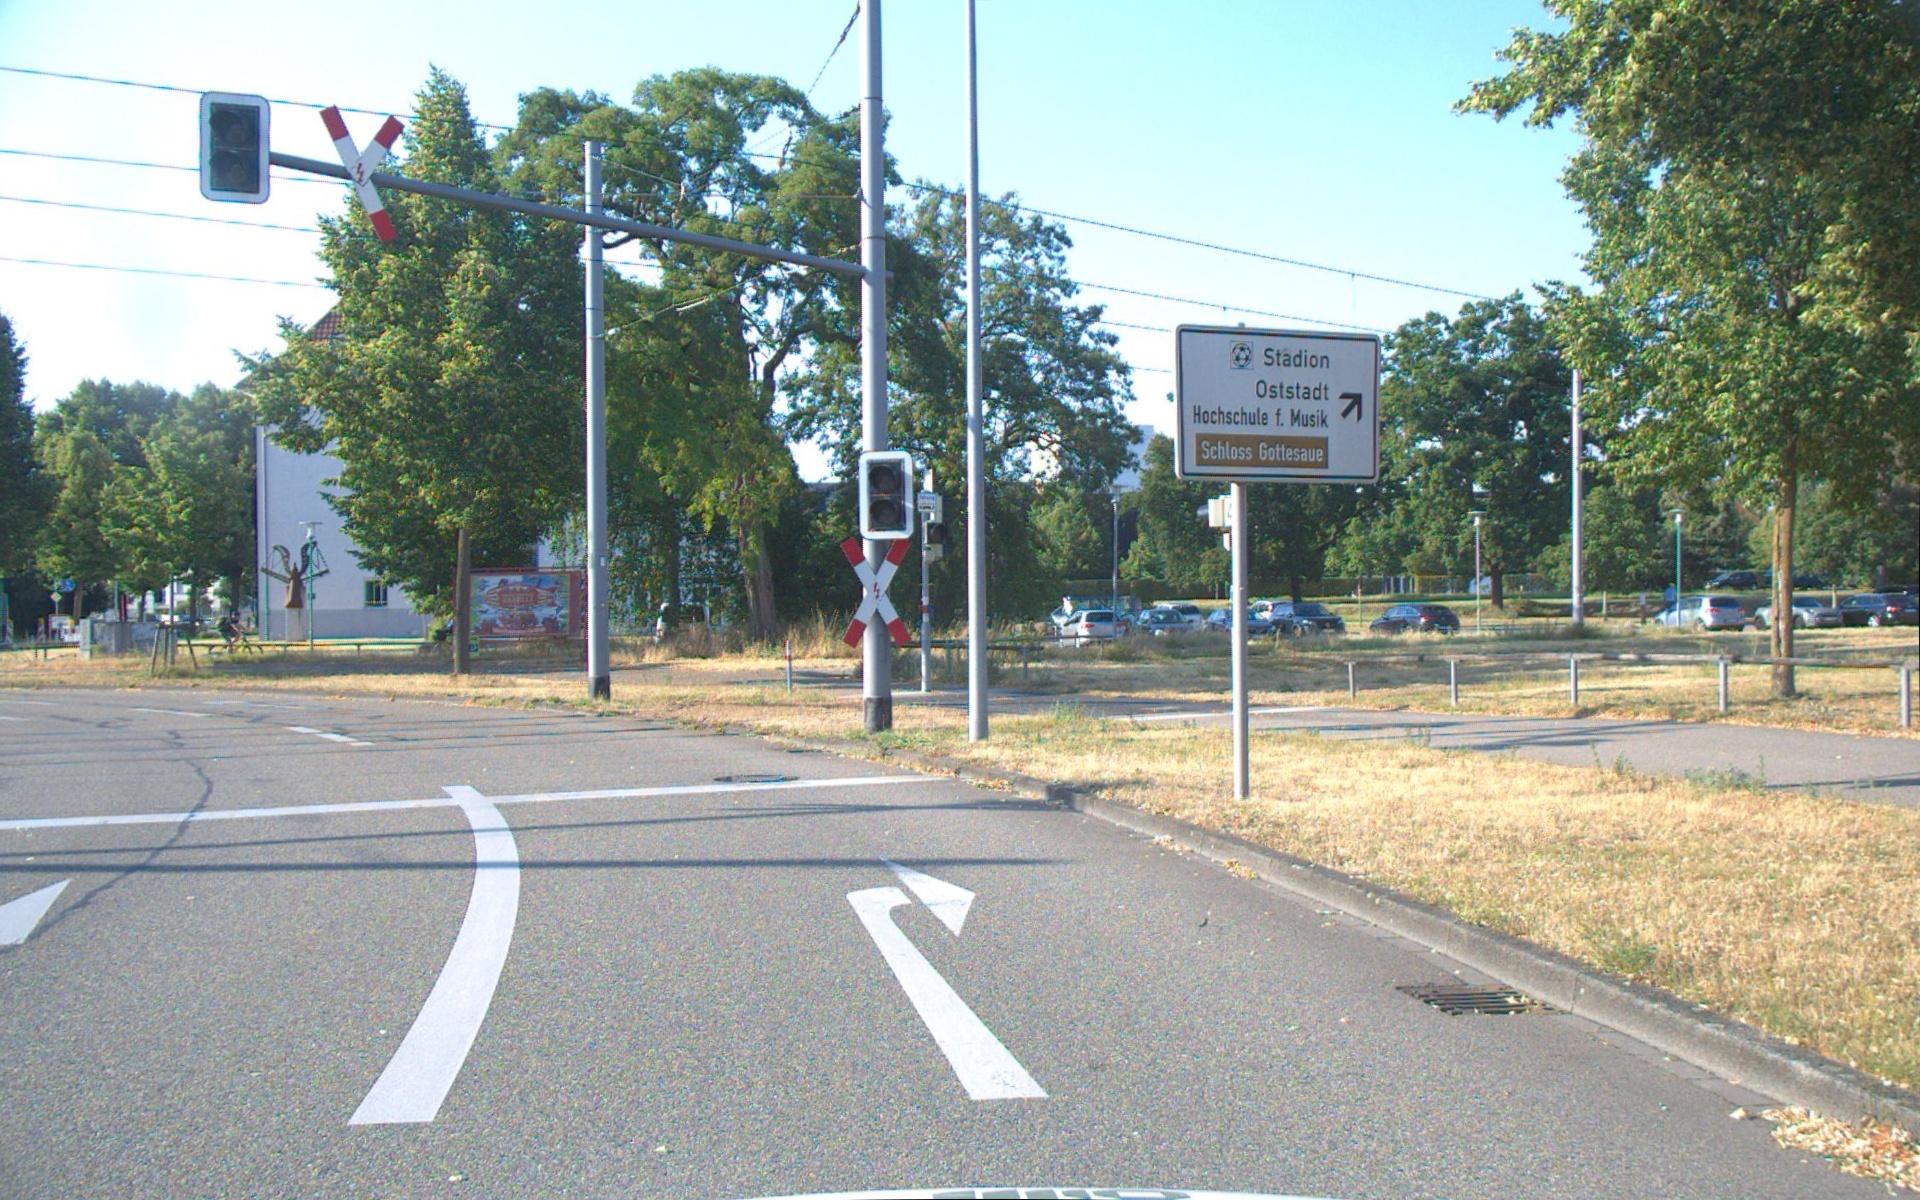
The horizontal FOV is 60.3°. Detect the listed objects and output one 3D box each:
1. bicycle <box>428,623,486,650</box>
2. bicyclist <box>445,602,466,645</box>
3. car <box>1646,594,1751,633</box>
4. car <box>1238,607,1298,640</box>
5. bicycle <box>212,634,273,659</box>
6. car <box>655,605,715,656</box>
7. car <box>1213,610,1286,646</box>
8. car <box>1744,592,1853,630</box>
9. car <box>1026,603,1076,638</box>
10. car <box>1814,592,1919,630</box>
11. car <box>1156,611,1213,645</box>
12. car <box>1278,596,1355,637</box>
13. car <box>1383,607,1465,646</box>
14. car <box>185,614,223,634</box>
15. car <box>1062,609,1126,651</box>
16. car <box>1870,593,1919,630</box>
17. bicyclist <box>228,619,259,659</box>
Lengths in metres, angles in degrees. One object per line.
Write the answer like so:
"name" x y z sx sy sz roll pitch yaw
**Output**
"bicycle" -18.293 1.309 60.198 1.969 0.934 0.425 -1 0 -34
"bicyclist" -18.348 0.843 60.171 0.616 1.537 0.414 -1 0 -34
"car" 28.515 0.538 63.975 1.788 1.427 3.990 -1 -1 -10
"car" 13.722 1.039 73.968 1.570 1.426 3.963 -1 -1 -6
"bicycle" -25.568 1.661 58.968 1.975 0.839 0.424 -1 0 -41
"car" -9.305 1.028 56.273 1.737 1.646 3.963 -1 -1 -6
"car" 10.410 0.994 59.650 1.570 1.242 3.963 -1 -1 -6
"car" 33.120 0.446 65.468 1.788 1.427 3.990 -1 -1 -10
"car" 3.892 0.874 71.296 1.570 1.426 3.963 -1 -1 -6
"car" 35.758 0.427 65.092 1.788 1.427 3.990 -1 -1 -10
"car" 9.773 1.222 72.132 1.570 1.426 3.963 -1 -1 -6
"car" 12.996 0.620 60.505 1.570 1.426 3.963 -1 -1 -6
"car" 17.099 0.969 61.159 1.570 1.333 3.963 -1 -1 -6
"car" -57.455 1.833 125.690 1.553 1.467 3.547 -1 0 -6
"car" 4.785 1.051 59.571 1.570 1.426 3.963 -1 -1 -6
"car" 38.217 0.437 65.427 1.788 1.427 3.990 -1 -1 -10
"bicyclist" -25.578 1.382 59.020 0.892 1.421 0.518 -1 0 -40
